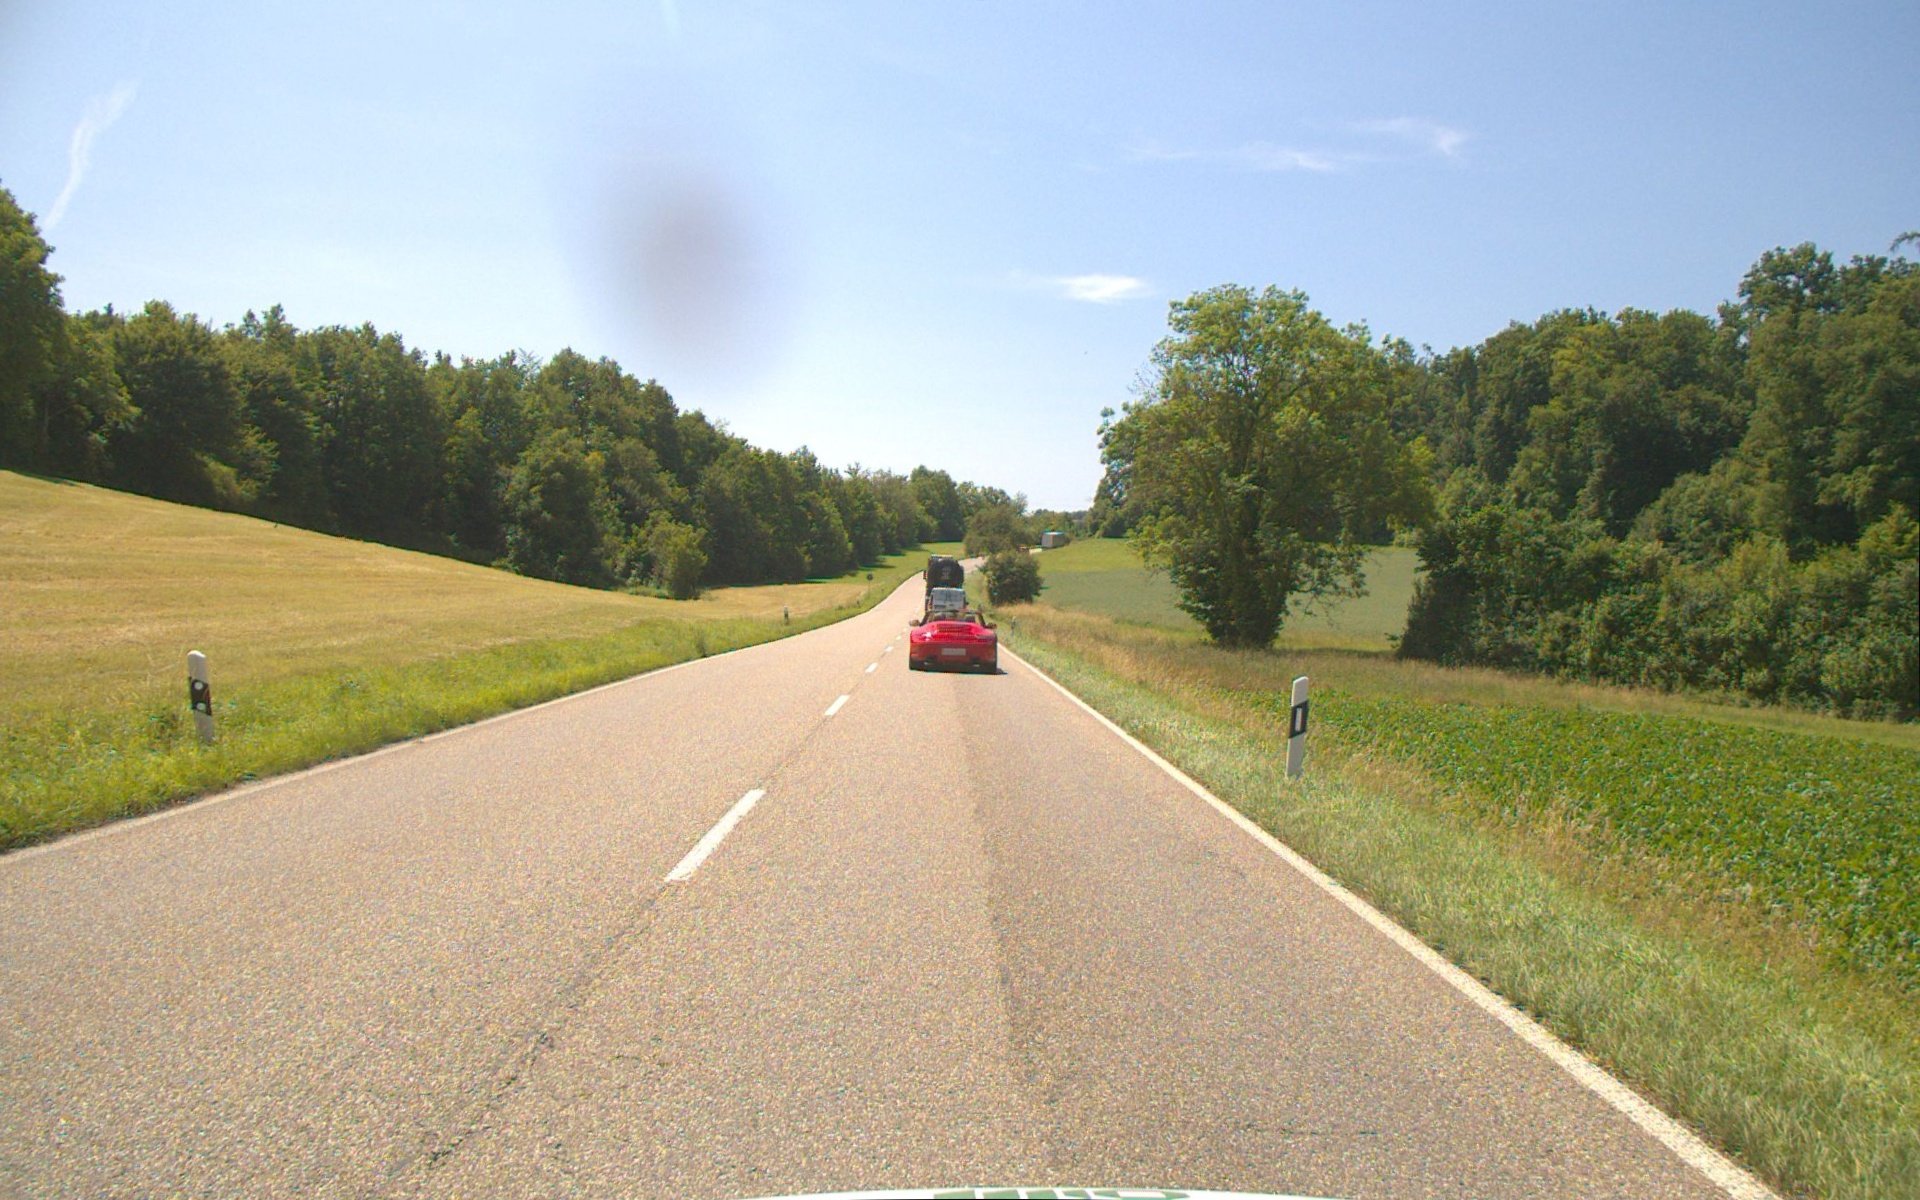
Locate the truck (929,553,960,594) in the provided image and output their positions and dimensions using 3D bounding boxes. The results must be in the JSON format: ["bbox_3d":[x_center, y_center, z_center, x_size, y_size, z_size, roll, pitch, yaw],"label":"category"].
[{"bbox_3d":[-1.904,-3.307,202.091,3.649,4.741,12.031,0,2,-1],"label":"truck"}]

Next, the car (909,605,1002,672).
[{"bbox_3d":[-0.123,0.778,35.277,1.844,1.277,4.008,2,0,-1],"label":"car"}]

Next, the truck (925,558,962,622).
[{"bbox_3d":[-1.251,-0.802,117.233,2.355,4.119,12.549,0,2,-2],"label":"truck"}]

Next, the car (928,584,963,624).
[{"bbox_3d":[-0.686,0.185,81.282,1.644,1.934,4.009,0,0,0],"label":"car"}]
